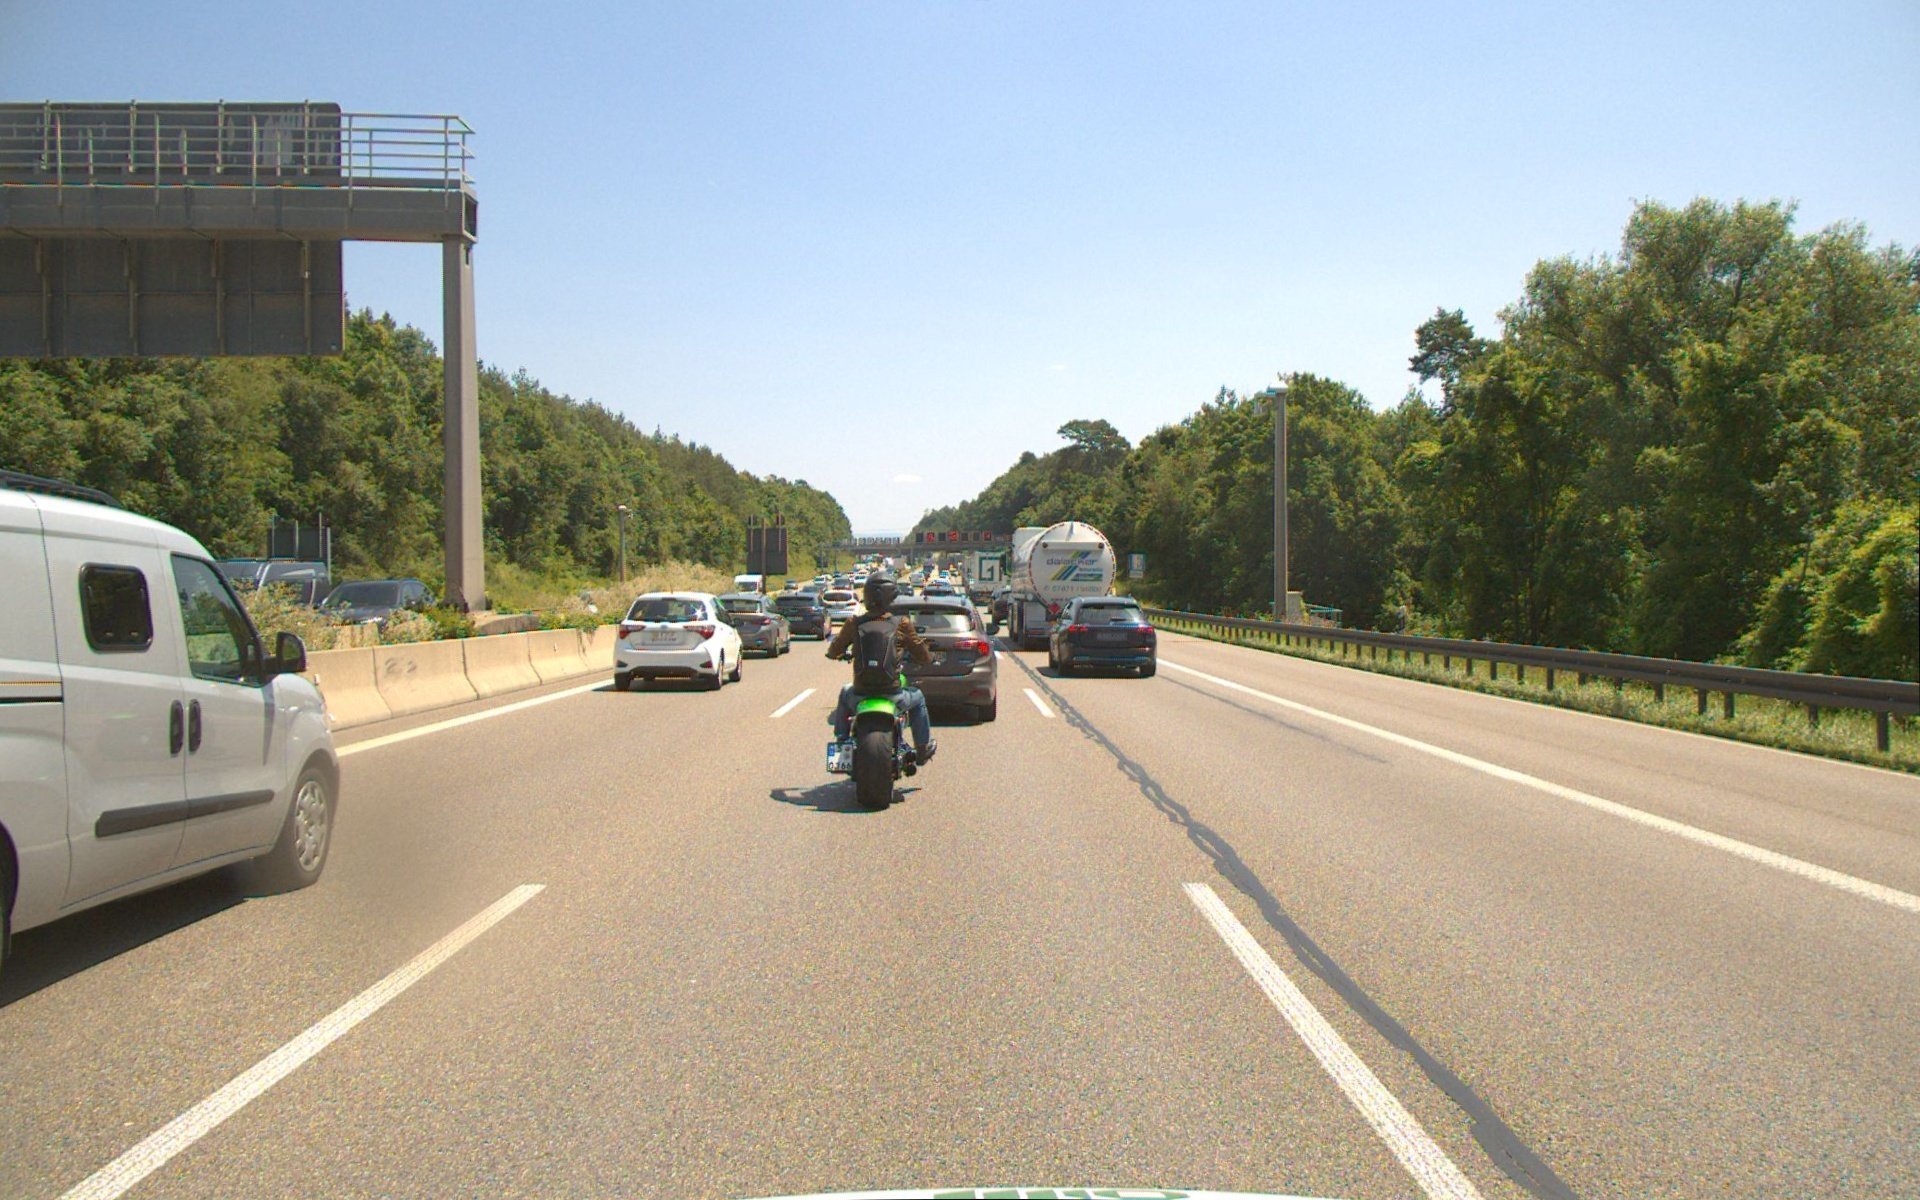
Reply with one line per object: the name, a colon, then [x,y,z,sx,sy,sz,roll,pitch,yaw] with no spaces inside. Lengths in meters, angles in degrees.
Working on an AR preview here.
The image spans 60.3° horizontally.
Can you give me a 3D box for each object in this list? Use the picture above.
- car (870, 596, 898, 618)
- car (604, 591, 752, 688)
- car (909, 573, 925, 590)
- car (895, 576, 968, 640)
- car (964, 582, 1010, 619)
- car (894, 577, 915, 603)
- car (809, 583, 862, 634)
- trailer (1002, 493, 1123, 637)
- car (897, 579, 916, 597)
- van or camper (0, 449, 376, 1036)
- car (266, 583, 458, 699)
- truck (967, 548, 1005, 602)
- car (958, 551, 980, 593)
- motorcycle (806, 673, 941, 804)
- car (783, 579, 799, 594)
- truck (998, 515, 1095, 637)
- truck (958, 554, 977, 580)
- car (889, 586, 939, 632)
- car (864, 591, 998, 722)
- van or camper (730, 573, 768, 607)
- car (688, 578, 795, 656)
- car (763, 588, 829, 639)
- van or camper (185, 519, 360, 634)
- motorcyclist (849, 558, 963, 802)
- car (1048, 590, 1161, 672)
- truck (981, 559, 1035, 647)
car: [-5.197,0.455,113.585,1.728,1.467,4.000,0,0,0]
car: [-4.490,0.595,26.855,1.740,1.435,3.999,1,0,-1]
car: [-5.483,-2.391,210.708,1.953,2.049,3.999,0,0,-1]
car: [-0.824,0.257,47.098,1.953,1.741,3.998,1,-1,-1]
car: [1.192,0.056,74.708,1.741,1.554,3.996,1,-1,-5]
car: [-4.551,-0.820,135.886,1.626,2.013,3.999,0,-1,0]
car: [-5.223,0.392,69.741,1.953,2.049,3.999,1,-1,-1]
trailer: [2.820,-0.806,48.562,2.770,3.735,10.730,1,-1,-1]
car: [-5.019,-1.118,155.599,1.626,1.627,3.999,0,-1,0]
van or camper: [-4.049,0.447,6.648,1.815,1.913,4.560,1,0,-1]
car: [-11.409,0.777,31.953,1.953,2.049,5.152,1,-1,-2]
truck: [2.103,-1.900,129.473,2.794,3.888,7.189,1,-1,2]
car: [0.890,-2.776,168.263,2.123,3.961,9.327,1,-1,-1]
motorcycle: [-0.608,1.007,12.534,0.917,0.807,2.298,1,0,-1]
car: [-24.101,-1.887,236.198,1.953,2.049,3.999,1,0,-2]
truck: [2.759,-0.687,54.442,2.770,3.735,6.428,1,-1,-1]
truck: [1.030,-4.697,237.010,2.641,3.465,10.476,0,0,-1]
car: [-1.872,0.407,67.918,1.953,1.806,3.998,1,-1,-1]
car: [-0.349,0.652,20.894,1.509,1.476,3.999,1,0,-1]
van or camper: [-16.266,-0.767,127.737,2.108,2.465,6.195,1,-1,-1]
car: [-5.105,0.420,39.184,1.953,1.713,4.329,1,-1,-1]
car: [-5.086,0.438,51.627,1.955,1.490,3.995,1,-1,-5]
van or camper: [-18.722,-0.537,45.492,2.110,2.909,6.651,1,-1,-1]
motorcyclist: [-0.386,0.575,12.207,0.782,1.717,1.016,1,-1,-1]
car: [2.753,0.609,32.432,1.755,1.484,4.623,1,-1,-1]
truck: [2.548,0.137,90.898,2.340,4.542,10.866,0,0,-2]
